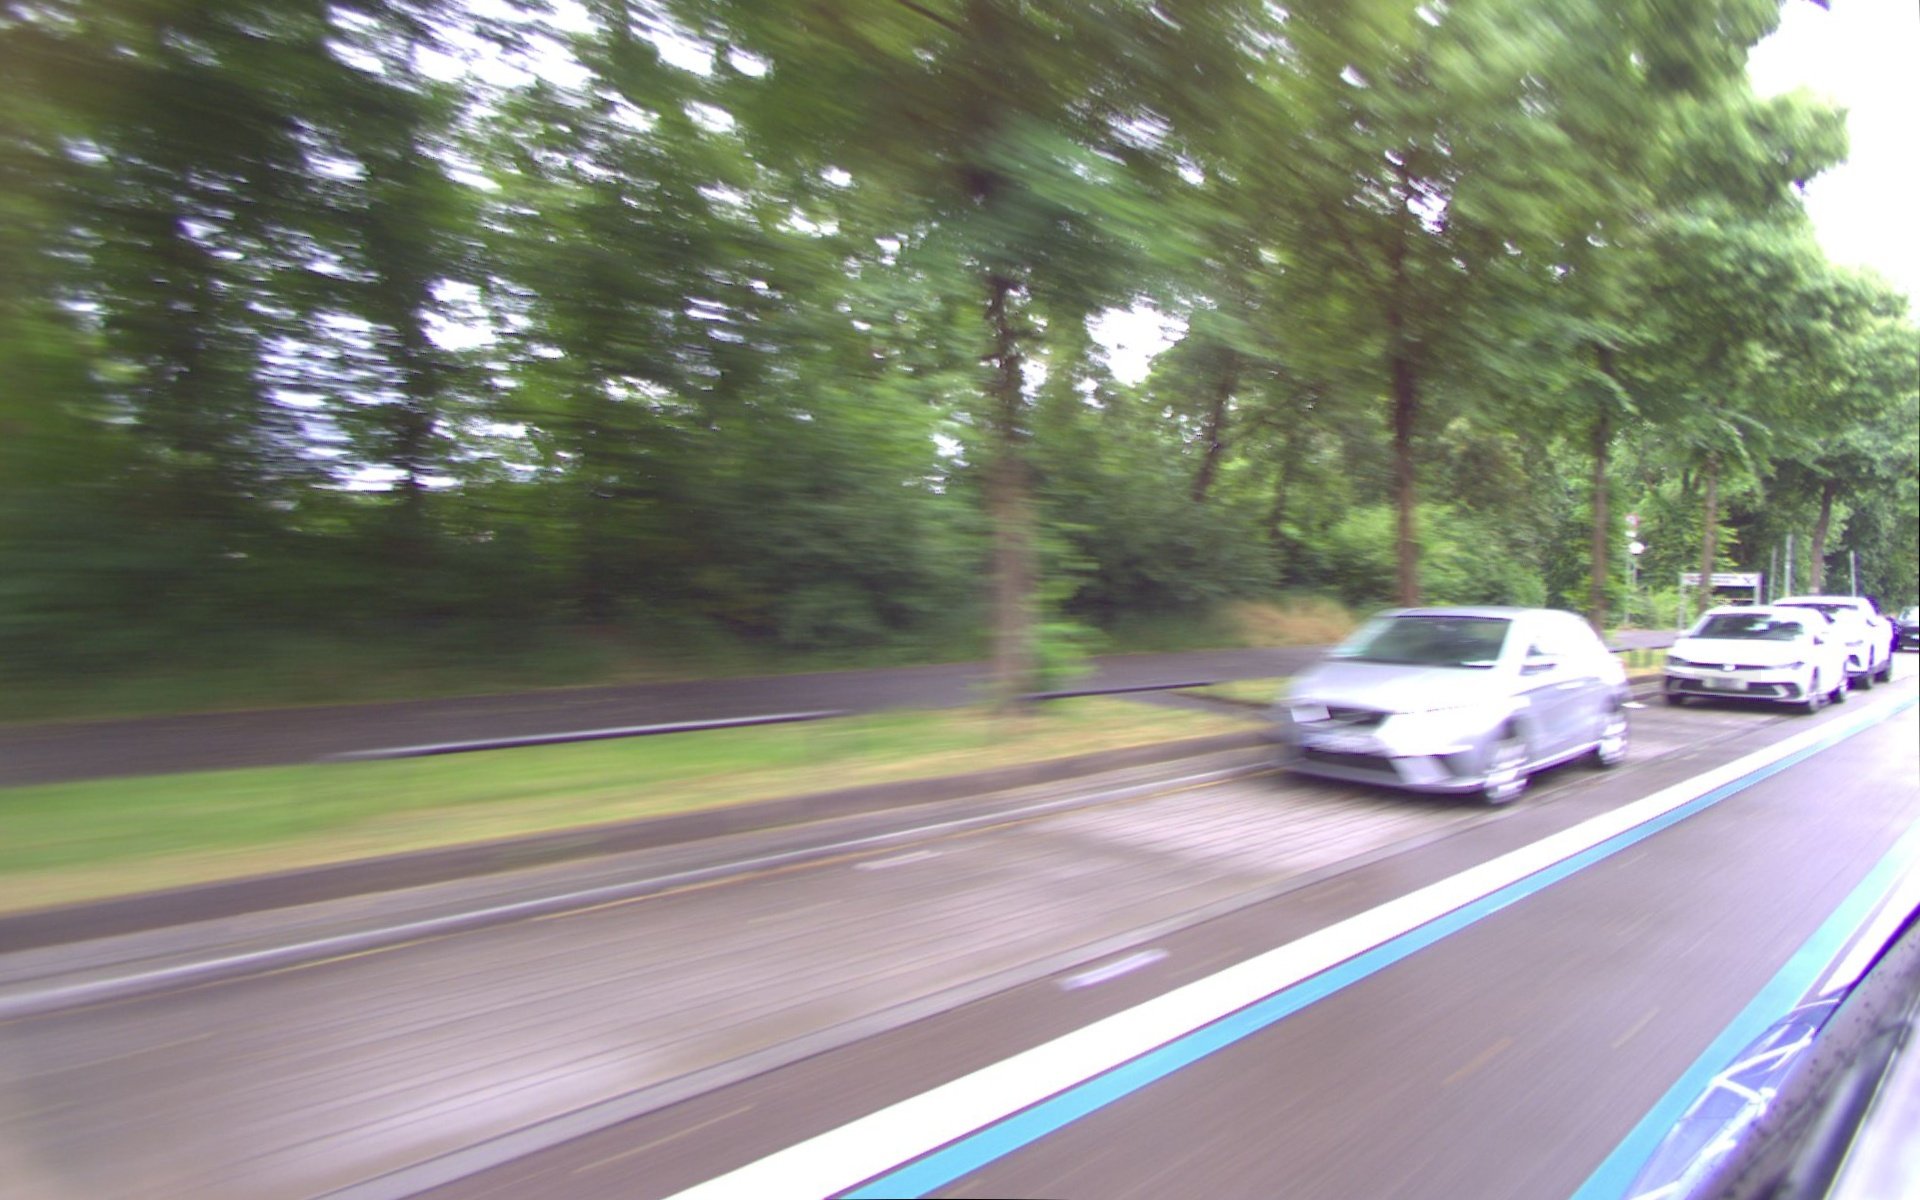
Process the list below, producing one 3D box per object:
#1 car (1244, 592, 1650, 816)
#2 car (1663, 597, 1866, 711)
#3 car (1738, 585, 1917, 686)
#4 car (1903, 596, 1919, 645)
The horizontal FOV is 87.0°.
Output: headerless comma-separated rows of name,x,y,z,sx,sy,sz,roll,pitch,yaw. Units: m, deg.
car,4.290,0.678,8.629,4.026,1.472,1.700,0,0,-41
car,11.952,0.691,14.955,3.877,1.472,1.700,0,0,-41
car,16.634,0.588,19.327,4.483,1.683,1.997,0,1,-41
car,31.137,0.656,31.941,3.930,1.495,1.698,0,2,-43
